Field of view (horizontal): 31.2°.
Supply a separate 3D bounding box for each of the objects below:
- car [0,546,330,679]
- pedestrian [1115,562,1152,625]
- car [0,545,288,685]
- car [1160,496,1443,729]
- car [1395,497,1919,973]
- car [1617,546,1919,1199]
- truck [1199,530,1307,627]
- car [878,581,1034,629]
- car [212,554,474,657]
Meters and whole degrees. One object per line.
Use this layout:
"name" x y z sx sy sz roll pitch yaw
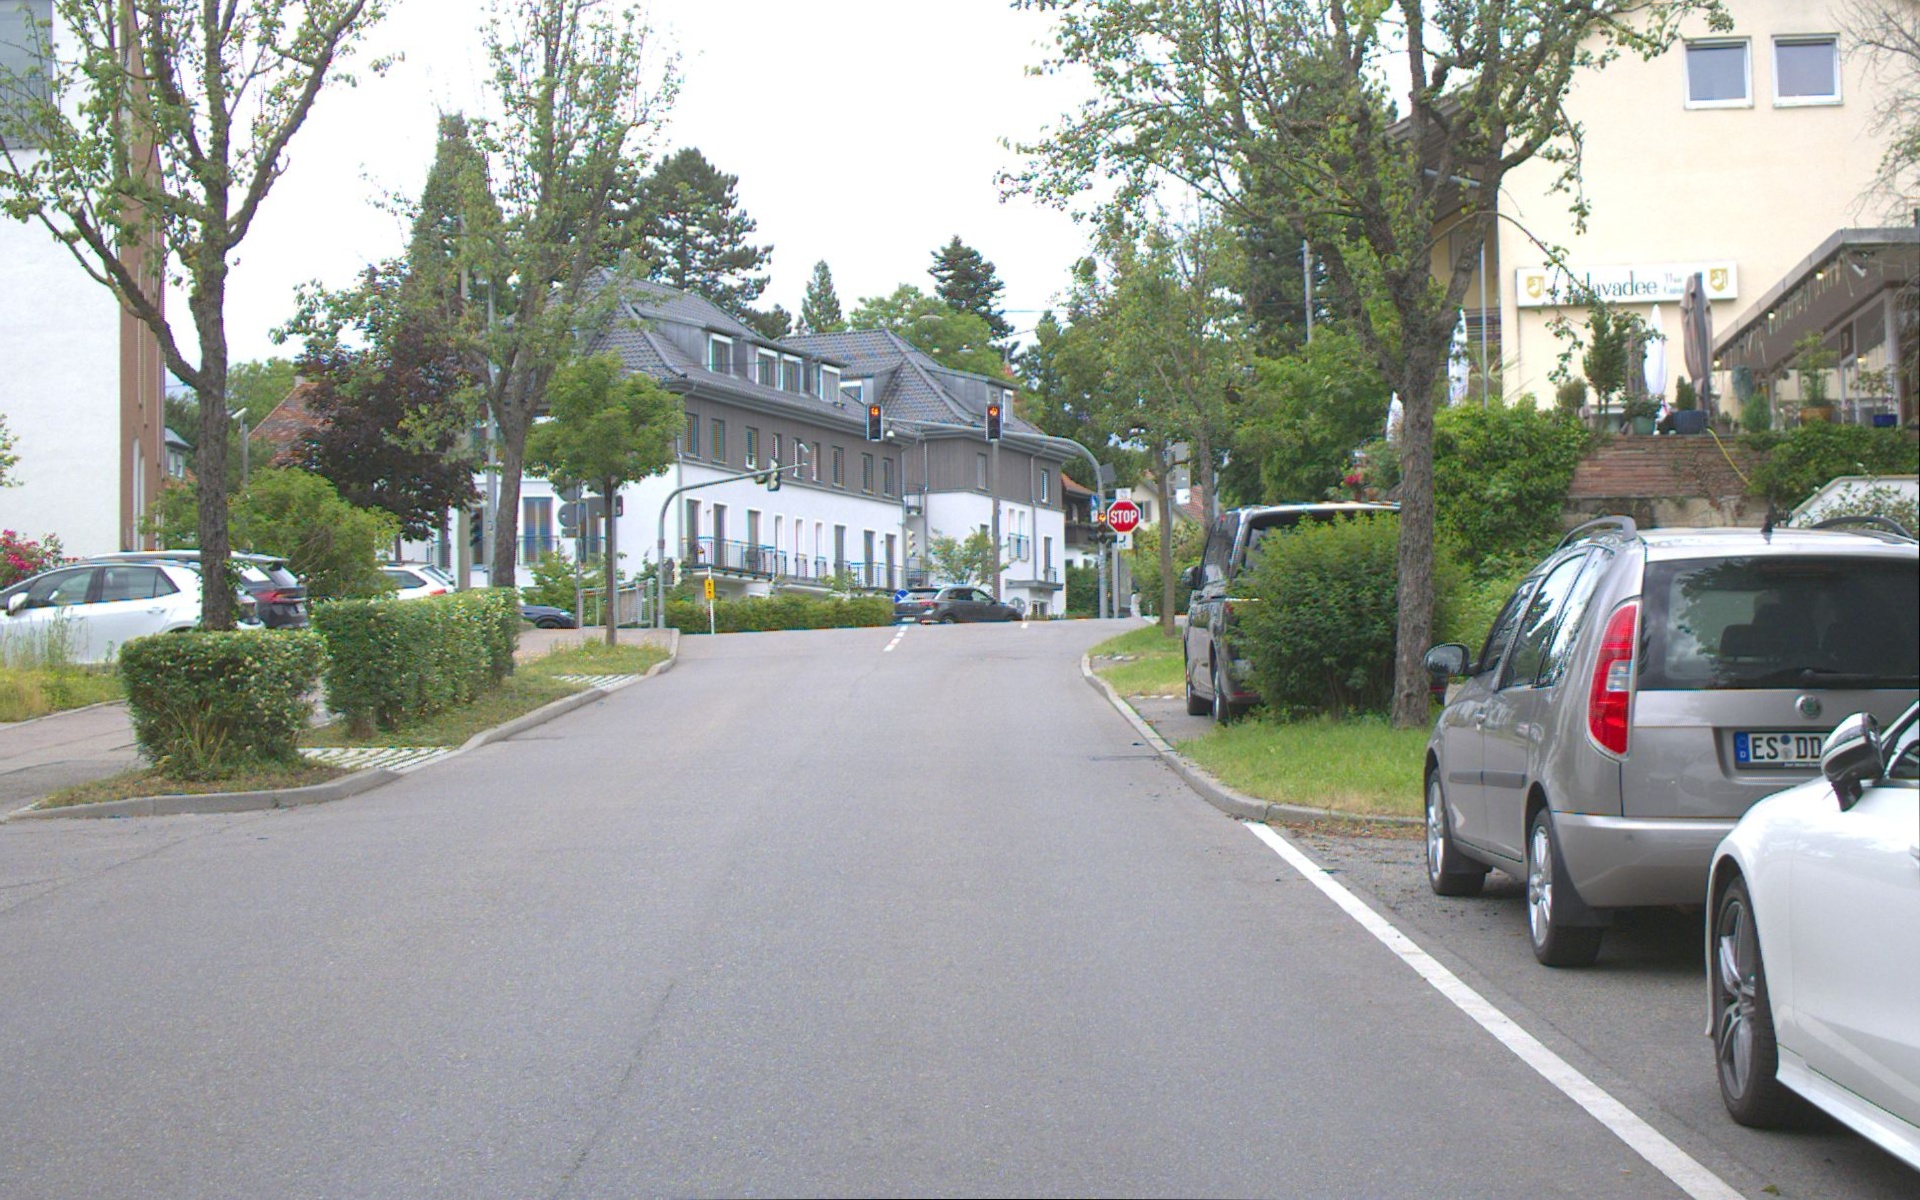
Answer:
"car" -10.288 0.148 44.151 3.987 1.648 2.008 0 1 1
"pedestrian" 4.682 -0.186 92.724 0.685 1.676 0.698 -1 1 41
"car" -10.518 0.181 41.509 4.386 1.561 2.066 -2 1 -1
"car" 2.891 0.069 30.191 1.936 1.831 5.219 -1 1 0
"car" 2.869 0.448 13.828 1.717 1.627 3.929 1 1 0
"car" 2.922 0.624 7.581 1.993 1.486 5.004 -2 1 1
"truck" 7.527 -0.512 88.841 2.183 2.188 5.881 -1 -2 -1
"car" -0.101 0.141 97.835 3.987 1.283 2.000 0 1 -34
"car" -10.787 0.103 60.351 4.259 1.618 2.014 -2 -1 -3
